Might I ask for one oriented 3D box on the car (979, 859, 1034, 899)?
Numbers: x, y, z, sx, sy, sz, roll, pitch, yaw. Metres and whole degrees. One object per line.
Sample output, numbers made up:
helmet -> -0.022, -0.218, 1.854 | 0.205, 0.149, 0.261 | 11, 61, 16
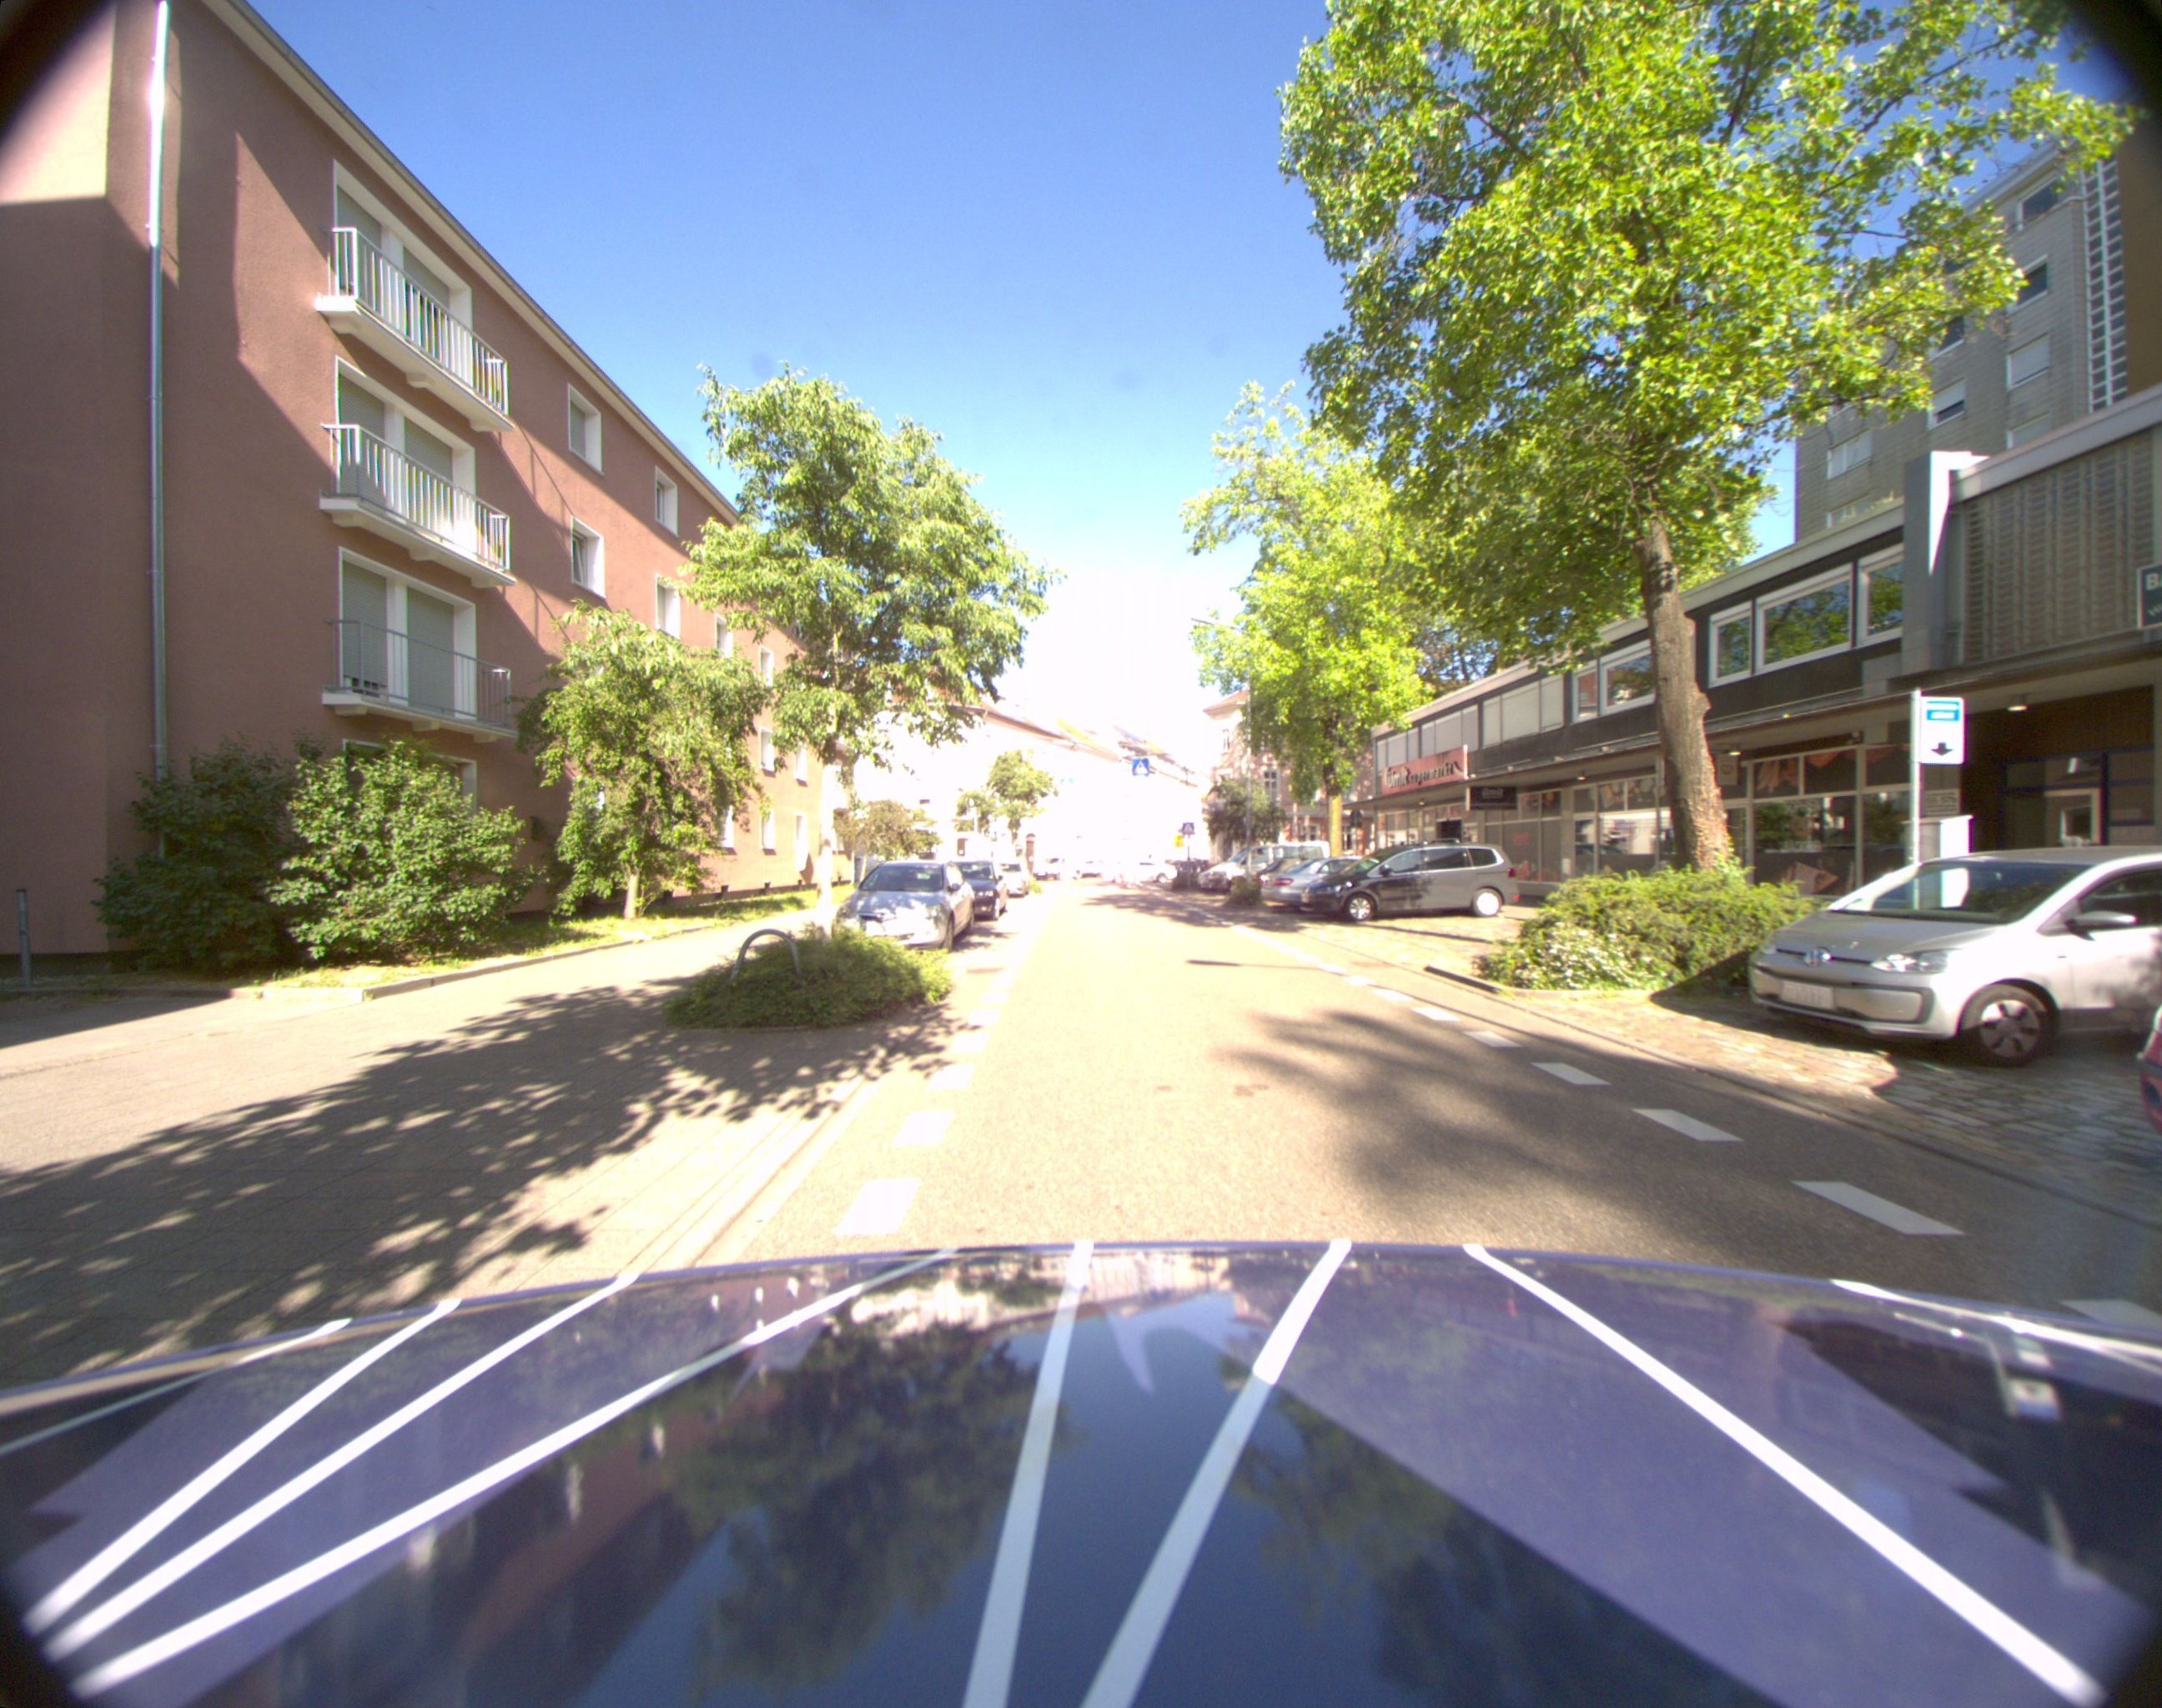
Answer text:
car -> -2.875, 0.920, 29.933 | 1.736, 1.420, 4.000 | -1, 0, 0

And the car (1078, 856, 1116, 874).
car -> 1.398, 0.930, 64.406 | 2.130, 1.487, 3.951 | 0, 0, 18

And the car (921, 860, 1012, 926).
car -> -2.789, 0.901, 19.416 | 1.662, 1.473, 4.311 | -1, 0, 0

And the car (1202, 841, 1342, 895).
car -> 7.471, 0.538, 30.077 | 4.996, 1.958, 1.909 | -2, 0, -2

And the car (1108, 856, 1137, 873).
car -> 3.820, 0.951, 70.242 | 1.632, 1.412, 3.299 | -1, 0, 23

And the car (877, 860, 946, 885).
car -> -9.754, 1.062, 43.878 | 3.648, 1.394, 1.568 | -1, 0, 0

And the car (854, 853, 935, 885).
car -> -12.005, 0.959, 49.143 | 4.757, 2.002, 1.999 | -1, 0, -5

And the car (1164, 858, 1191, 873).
car -> 9.570, 1.108, 75.300 | 1.996, 1.455, 4.005 | 0, 0, 17

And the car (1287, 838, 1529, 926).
car -> 7.469, 0.616, 17.679 | 4.781, 1.767, 1.874 | -2, 0, -1

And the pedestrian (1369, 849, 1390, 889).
pedestrian -> 11.643, 0.581, 29.663 | 0.529, 1.547, 0.663 | -2, 1, 0

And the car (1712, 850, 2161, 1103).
car -> 7.351, 0.805, 5.832 | 3.595, 1.552, 1.672 | -2, 0, 0

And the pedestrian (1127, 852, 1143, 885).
pedestrian -> 2.729, 0.712, 38.337 | 0.727, 1.630, 0.808 | 0, 1, -1

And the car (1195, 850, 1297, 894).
car -> 7.037, 0.762, 32.649 | 3.997, 1.781, 1.757 | -1, 0, -1

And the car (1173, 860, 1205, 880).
car -> 9.484, 1.409, 66.470 | 1.670, 1.628, 4.055 | 0, 0, 23

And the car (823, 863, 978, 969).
car -> -2.906, 0.935, 13.118 | 1.720, 1.445, 3.999 | 0, 1, 0

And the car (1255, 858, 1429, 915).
car -> 6.862, 0.828, 20.234 | 3.998, 1.390, 1.759 | -1, 0, -2

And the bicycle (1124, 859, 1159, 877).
bicycle -> 4.148, 0.955, 51.838 | 2.287, 1.179, 0.876 | 0, 0, 13

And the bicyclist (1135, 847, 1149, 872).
bicyclist -> 4.191, 0.370, 51.808 | 0.817, 1.663, 0.848 | 0, 1, 14

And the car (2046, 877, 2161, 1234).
car -> 6.535, 0.843, 2.924 | 3.567, 1.545, 1.661 | -2, 0, -1

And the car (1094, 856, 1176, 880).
car -> 3.365, 0.861, 47.764 | 4.805, 1.417, 1.999 | -1, 0, -8

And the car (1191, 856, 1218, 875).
car -> 11.578, 1.066, 70.966 | 1.505, 1.652, 4.007 | 0, 0, 24

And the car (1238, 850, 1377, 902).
car -> 7.446, 0.713, 25.220 | 3.998, 1.412, 1.737 | -4, 0, -2

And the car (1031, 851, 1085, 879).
car -> -1.635, 0.759, 55.265 | 1.908, 1.924, 4.817 | 0, 0, 26
